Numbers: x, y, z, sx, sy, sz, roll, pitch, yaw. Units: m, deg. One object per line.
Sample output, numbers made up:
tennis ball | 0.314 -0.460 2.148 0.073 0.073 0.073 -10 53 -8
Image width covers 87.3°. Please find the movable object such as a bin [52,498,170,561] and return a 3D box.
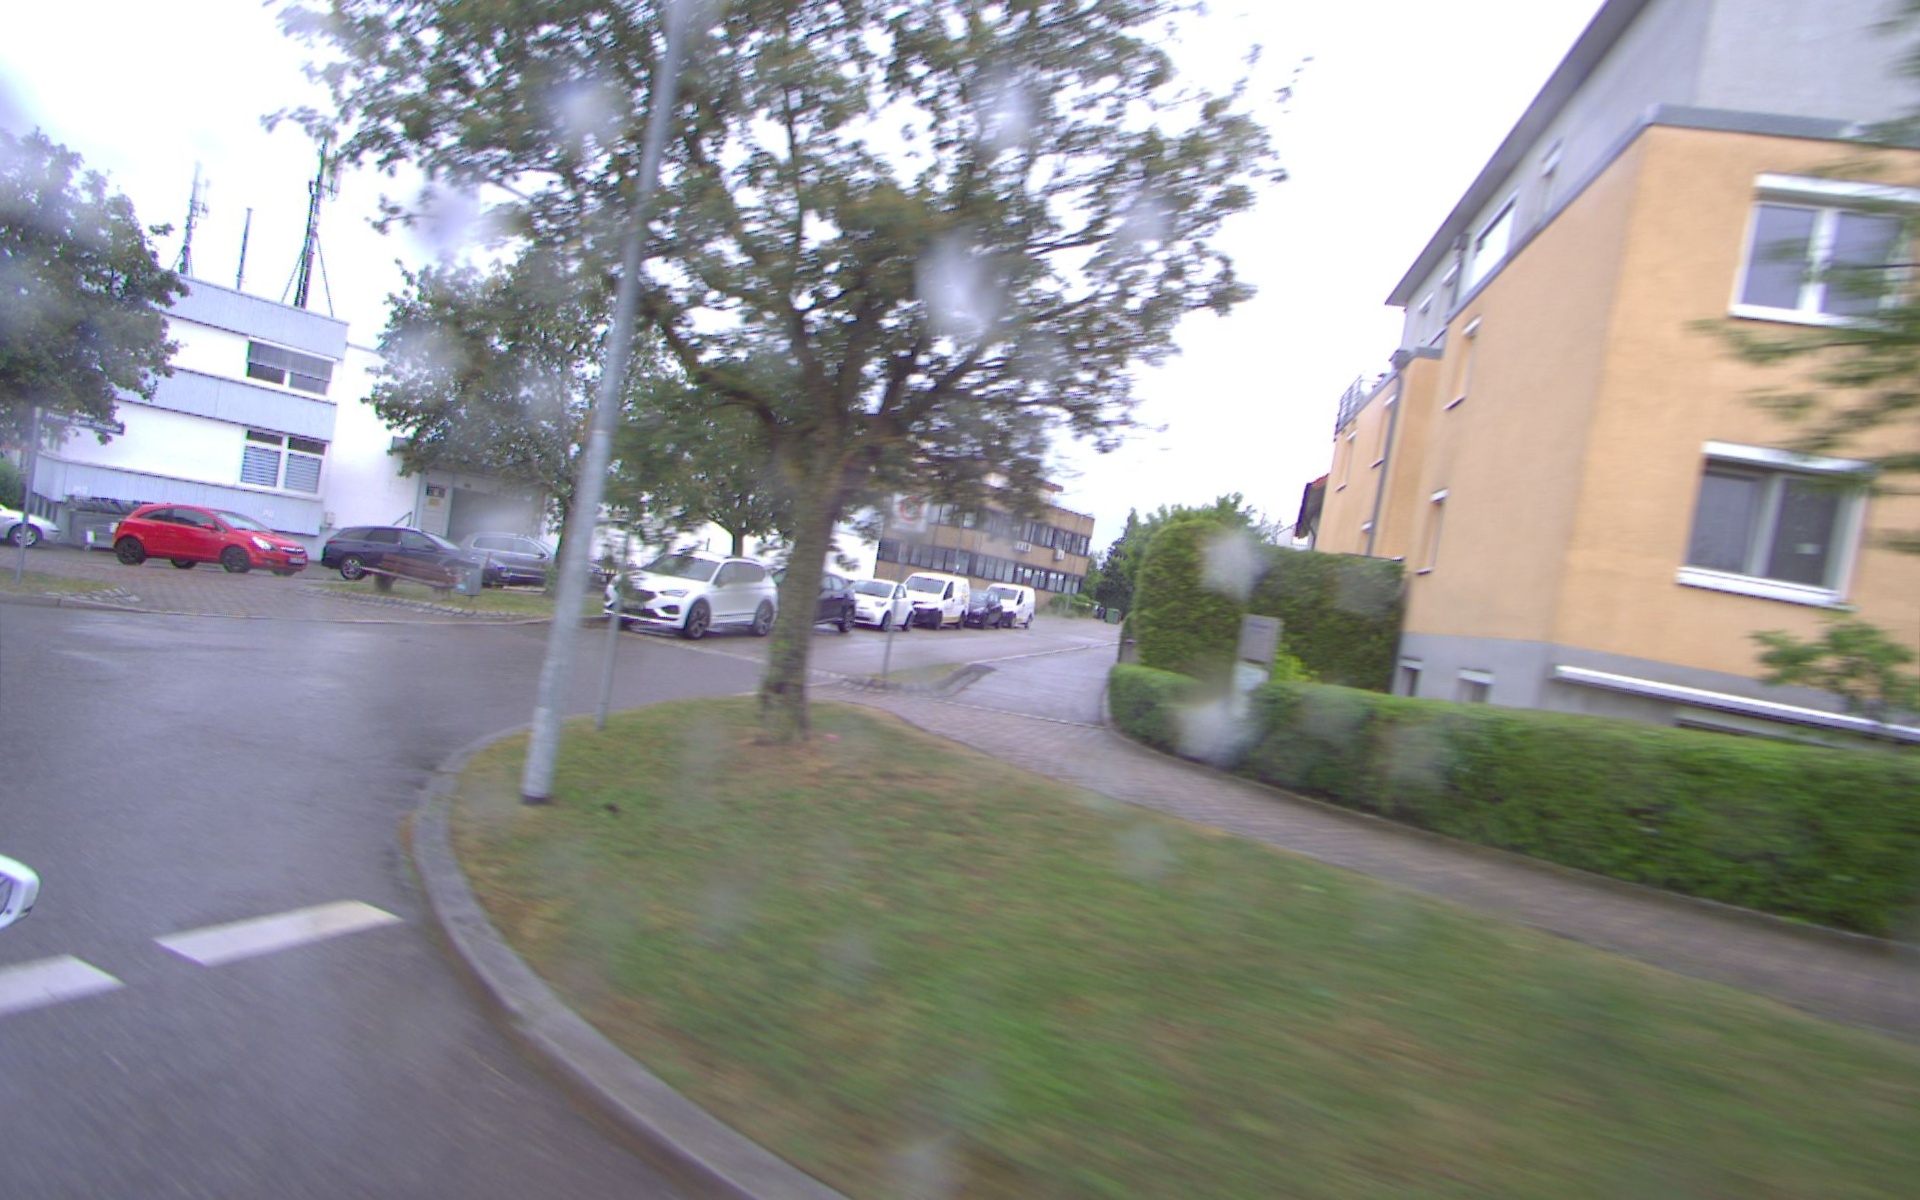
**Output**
movable object such as a bin | -24.806 -2.048 29.417 1.707 1.523 2.264 7 1 37

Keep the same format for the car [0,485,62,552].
car | -26.293 -2.347 25.940 1.829 1.604 4.315 6 -1 34

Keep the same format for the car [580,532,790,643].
car | -5.457 -0.204 20.710 1.910 1.838 4.713 6 1 15

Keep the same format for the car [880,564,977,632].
car | -1.034 -0.010 35.507 1.895 1.952 4.425 8 0 17

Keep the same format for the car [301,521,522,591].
car | -14.384 -1.129 26.580 4.740 1.605 1.858 2 0 -3

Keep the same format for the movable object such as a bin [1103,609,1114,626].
movable object such as a bin | 11.383 1.373 77.205 0.642 1.220 0.927 6 0 15

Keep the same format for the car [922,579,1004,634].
car | 0.182 0.305 39.588 1.919 1.753 4.021 8 0 17

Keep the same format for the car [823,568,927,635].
car | -2.517 0.104 30.828 1.800 1.688 3.832 7 -1 16

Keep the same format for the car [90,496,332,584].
car | -17.504 -1.372 23.648 4.244 1.604 1.859 4 0 2

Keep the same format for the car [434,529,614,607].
car | -12.752 -0.903 29.637 4.378 1.819 1.859 4 -2 -4

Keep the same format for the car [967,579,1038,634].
car | 1.951 0.338 44.911 1.919 1.993 4.159 8 0 18

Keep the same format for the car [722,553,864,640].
car | -4.124 -0.011 25.538 1.918 1.753 4.022 8 0 14
